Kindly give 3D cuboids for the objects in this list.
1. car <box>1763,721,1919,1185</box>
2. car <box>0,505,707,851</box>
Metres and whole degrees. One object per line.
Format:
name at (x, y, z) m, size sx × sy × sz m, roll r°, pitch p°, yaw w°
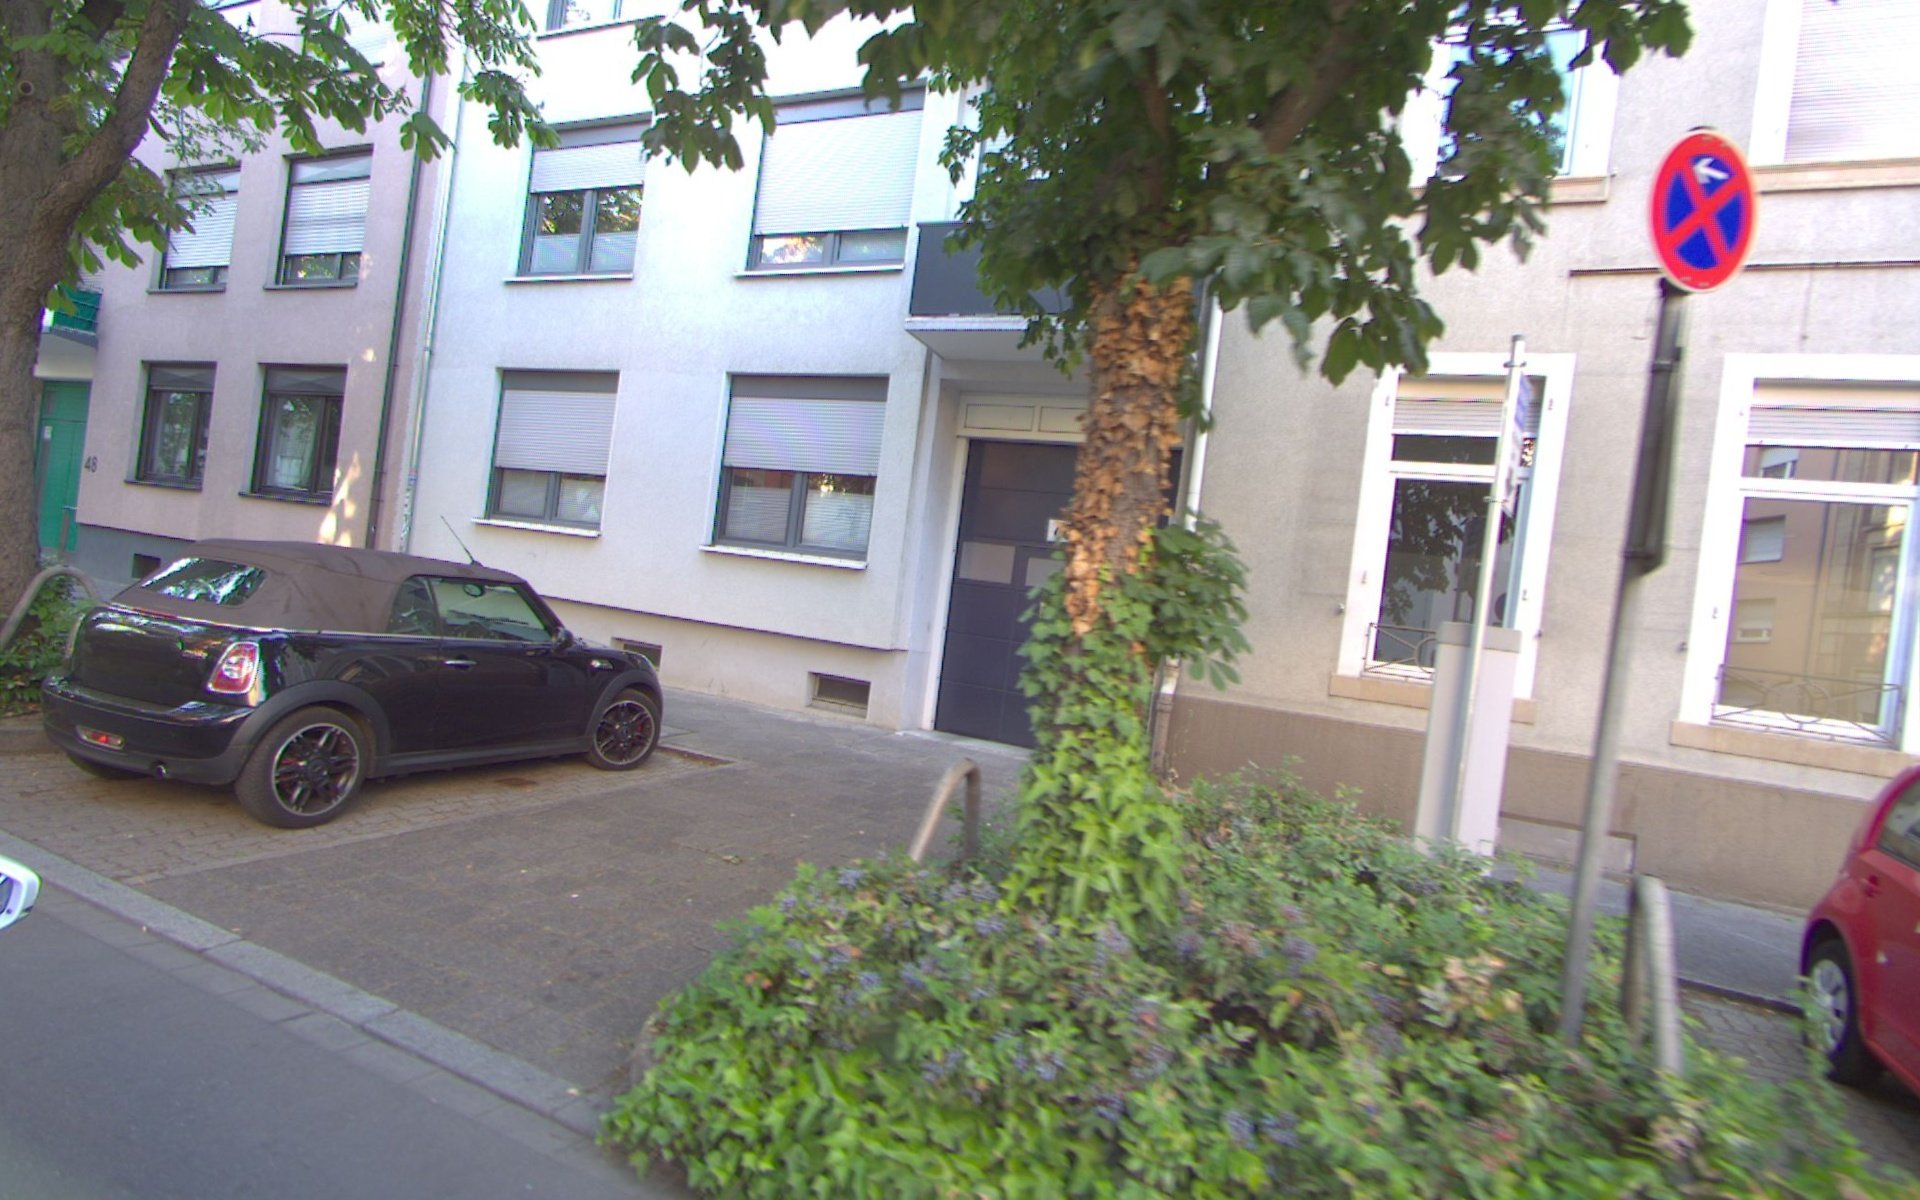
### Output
car at (3.928, 1.308, 2.839) m, size 1.537 × 1.494 × 3.666 m, roll 7°, pitch 0°, yaw 24°
car at (-3.485, 0.370, 6.577) m, size 1.597 × 1.446 × 3.711 m, roll 7°, pitch 2°, yaw 21°
